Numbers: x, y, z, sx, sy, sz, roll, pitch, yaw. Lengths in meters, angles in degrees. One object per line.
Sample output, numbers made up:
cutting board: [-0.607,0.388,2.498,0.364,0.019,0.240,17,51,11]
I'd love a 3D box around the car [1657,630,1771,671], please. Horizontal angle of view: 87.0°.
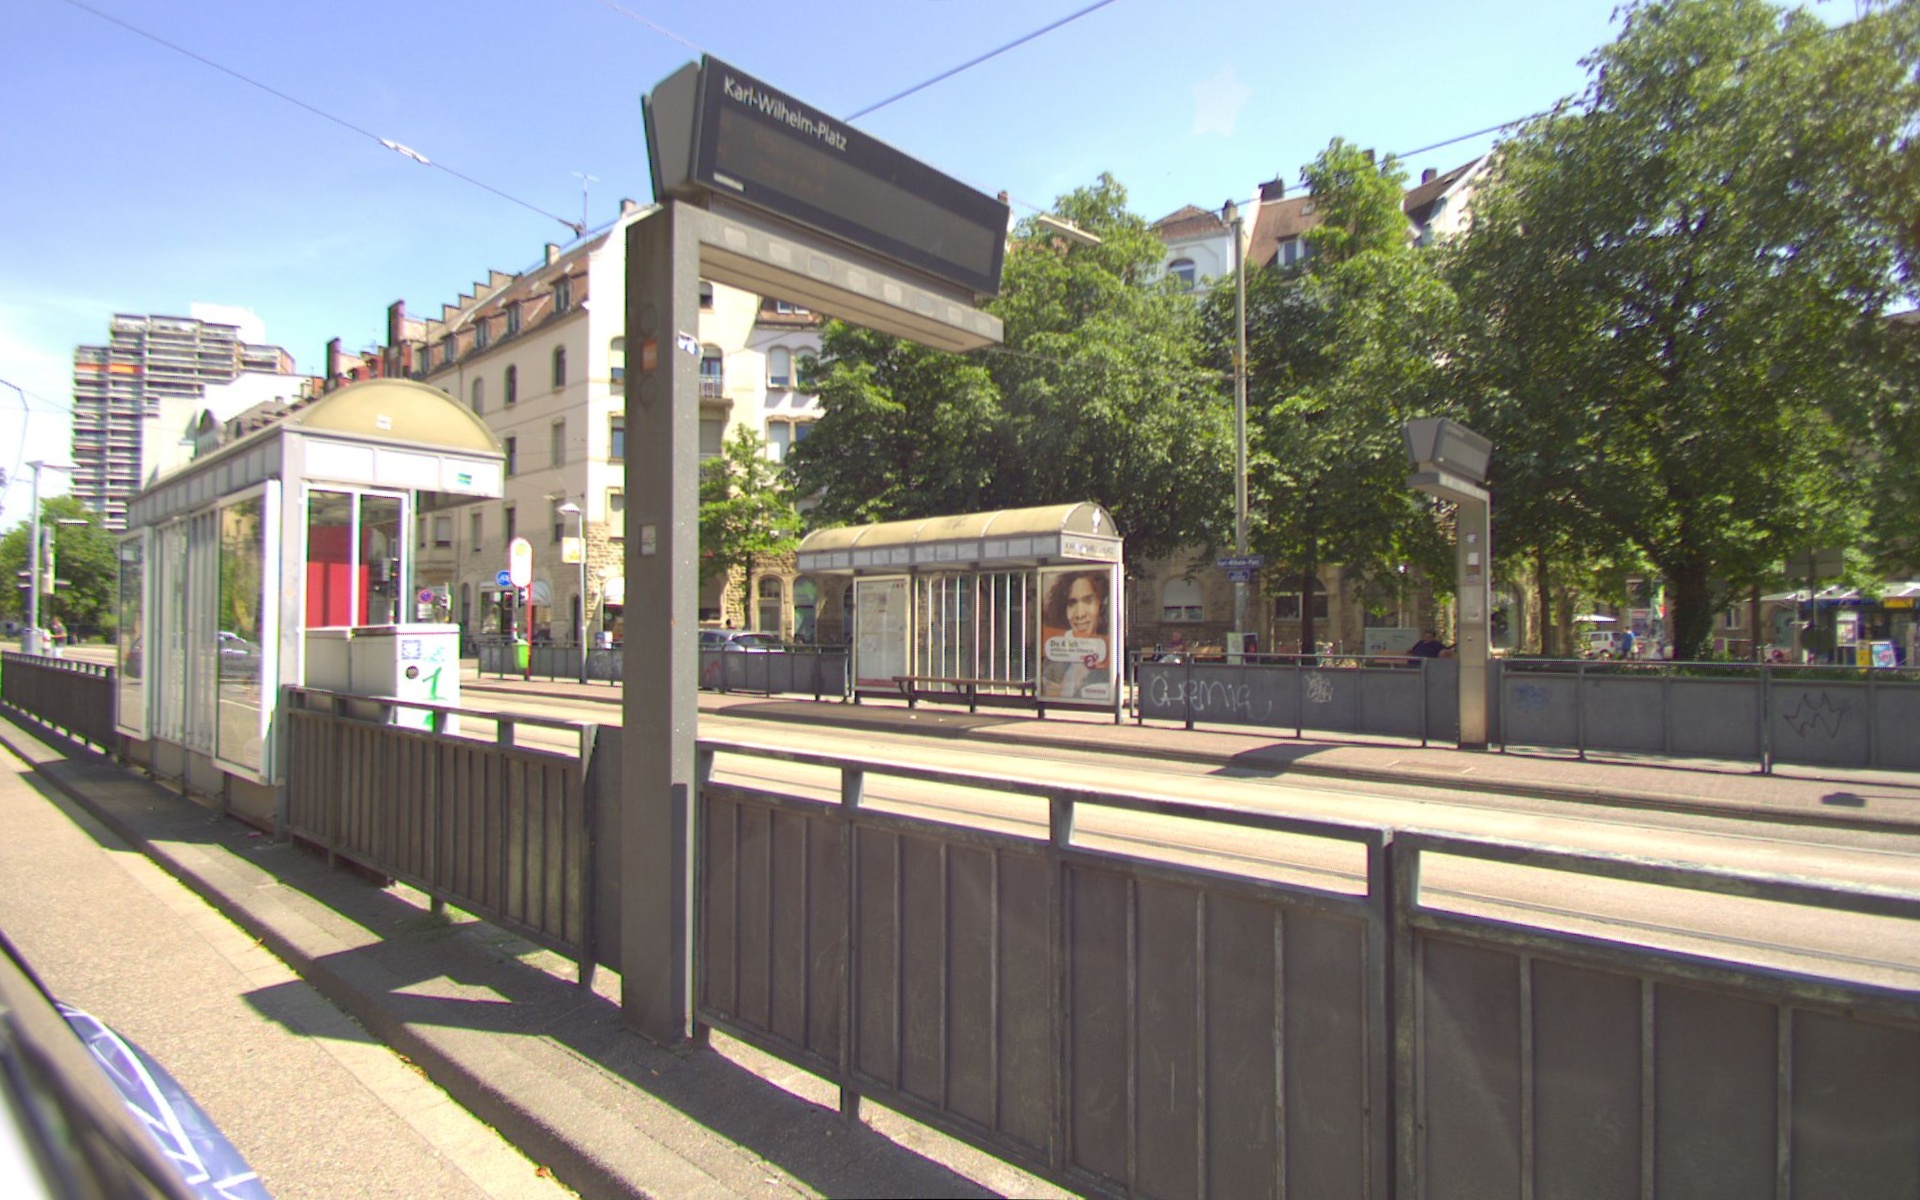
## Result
car: [35.777,2.350,48.102,1.736,1.721,3.998,-1,0,-33]

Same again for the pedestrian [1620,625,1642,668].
pedestrian: [26.388,1.828,39.789,0.483,1.683,0.517,1,-2,-27]

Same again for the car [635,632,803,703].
car: [-5.609,1.488,23.362,3.998,1.404,1.789,-1,0,41]

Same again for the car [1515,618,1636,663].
car: [26.707,1.705,44.010,1.966,1.803,4.011,-1,0,-33]

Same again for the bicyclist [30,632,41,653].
bicyclist: [-86.959,4.014,95.167,0.715,1.889,0.636,-1,0,39]

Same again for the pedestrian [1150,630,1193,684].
pedestrian: [5.082,1.355,24.316,0.930,1.253,0.860,-1,0,17]

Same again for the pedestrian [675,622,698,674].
pedestrian: [-8.818,1.557,32.623,0.584,1.659,0.475,1,-2,-30]

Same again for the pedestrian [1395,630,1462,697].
pedestrian: [9.271,1.238,20.041,0.852,1.253,0.939,-1,0,-43]

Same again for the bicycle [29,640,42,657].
bicycle: [-86.952,4.518,95.176,1.969,1.524,0.636,-1,0,39]

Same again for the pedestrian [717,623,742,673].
pedestrian: [-7.307,1.518,32.105,0.473,1.563,0.586,-2,-3,39]

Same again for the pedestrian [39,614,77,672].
pedestrian: [-29.034,1.365,32.565,0.674,1.838,0.827,-2,-3,44]
